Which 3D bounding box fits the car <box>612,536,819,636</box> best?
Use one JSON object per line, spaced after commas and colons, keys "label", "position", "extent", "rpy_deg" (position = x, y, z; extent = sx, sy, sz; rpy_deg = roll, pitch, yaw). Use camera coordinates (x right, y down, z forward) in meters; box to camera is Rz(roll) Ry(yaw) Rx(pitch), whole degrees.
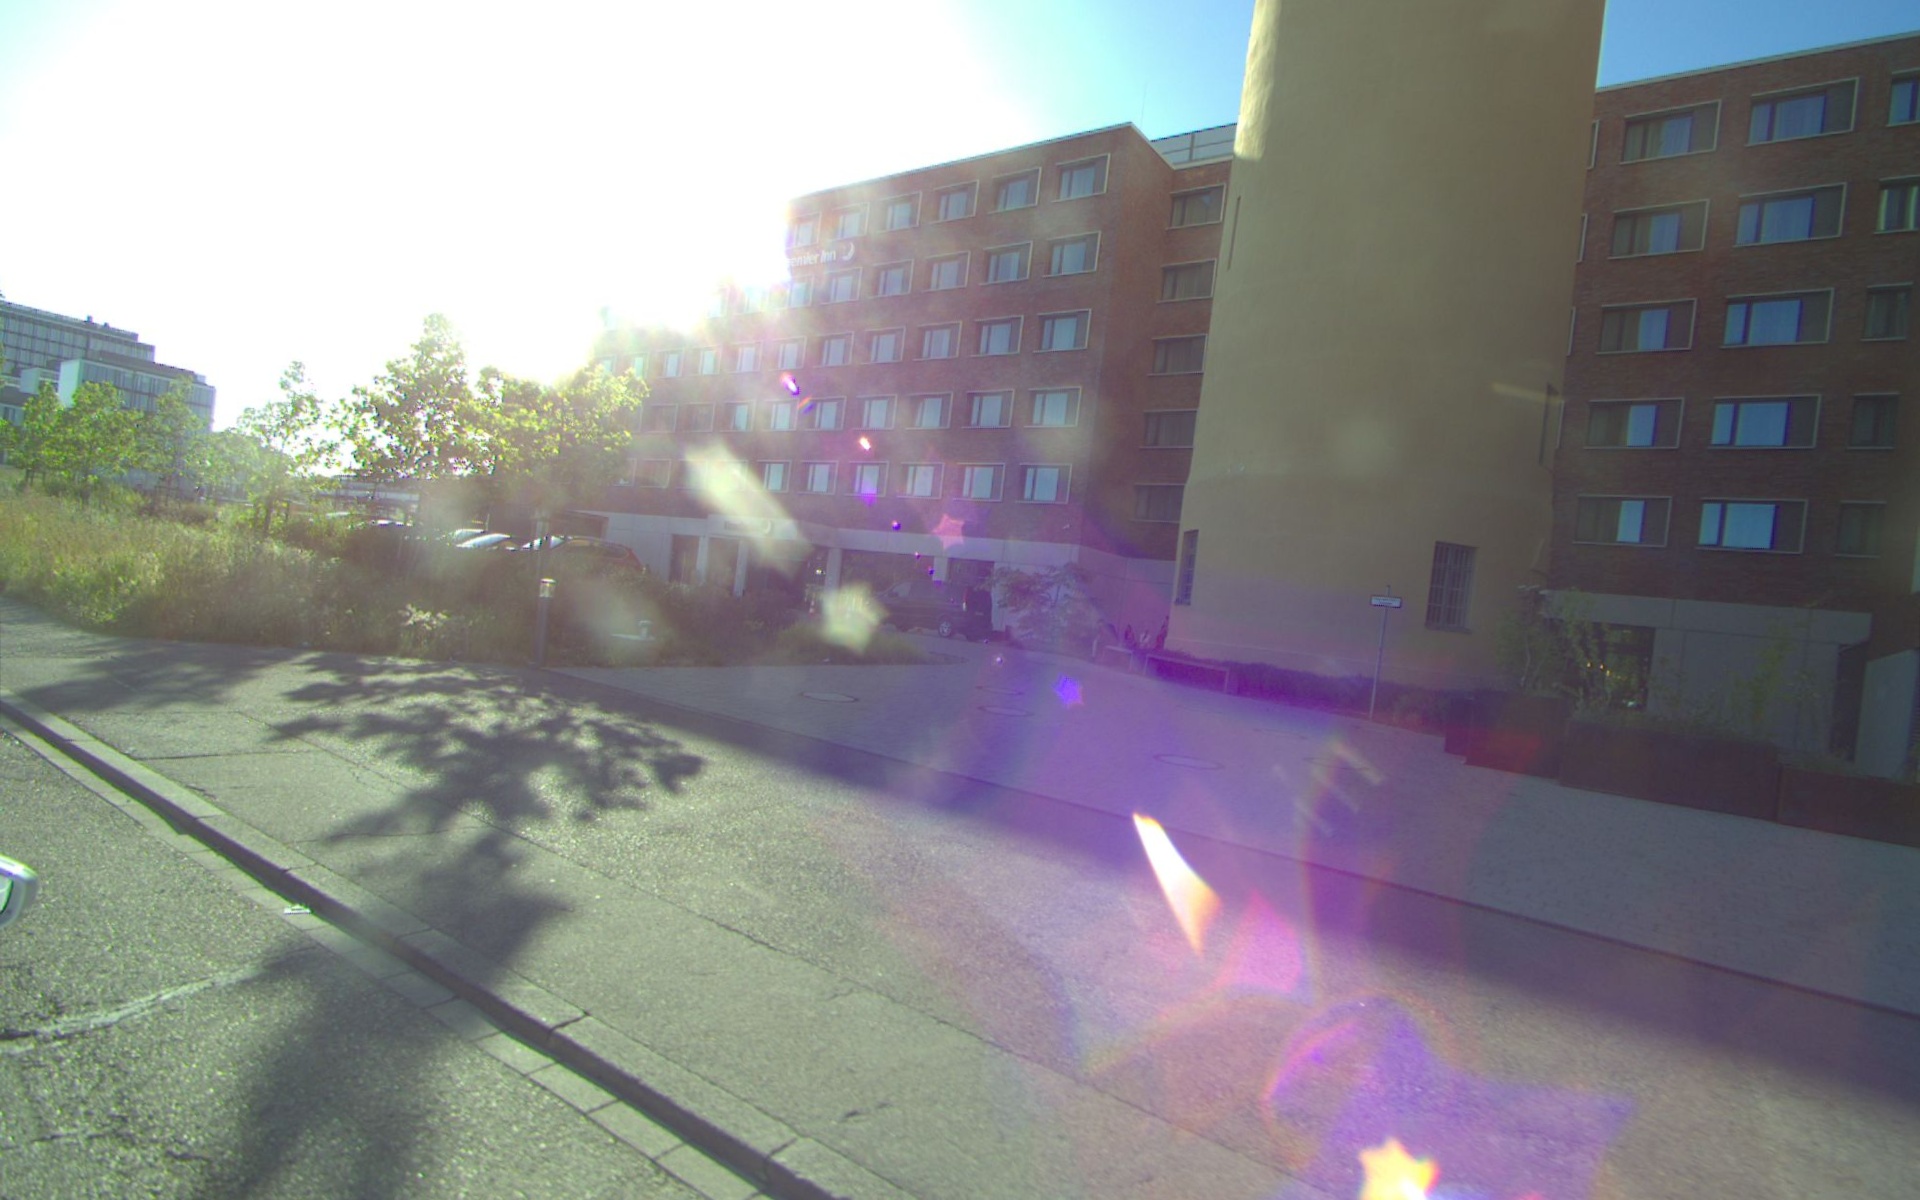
{"label": "car", "position": [-5.442, -0.263, 22.824], "extent": [1.824, 1.599, 4.186], "rpy_deg": [9, -1, 38]}

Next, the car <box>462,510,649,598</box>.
{"label": "car", "position": [-10.745, -1.191, 26.974], "extent": [1.824, 1.599, 4.186], "rpy_deg": [9, -1, 38]}

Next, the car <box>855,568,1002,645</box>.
{"label": "car", "position": [-1.154, 0.212, 35.338], "extent": [4.718, 1.958, 1.973], "rpy_deg": [9, 0, 36]}

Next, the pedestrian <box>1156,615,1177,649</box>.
{"label": "pedestrian", "position": [7.335, 1.143, 35.758], "extent": [0.525, 1.154, 0.342], "rpy_deg": [7, -1, 31]}

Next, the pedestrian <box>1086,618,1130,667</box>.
{"label": "pedestrian", "position": [3.926, 1.116, 26.692], "extent": [0.746, 1.150, 0.813], "rpy_deg": [7, 1, -20]}

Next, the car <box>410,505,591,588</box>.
{"label": "car", "position": [-12.979, -1.484, 28.630], "extent": [1.824, 1.599, 4.186], "rpy_deg": [9, -1, 38]}

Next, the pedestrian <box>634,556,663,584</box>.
{"label": "pedestrian", "position": [-16.755, -1.618, 54.148], "extent": [0.994, 1.325, 0.930], "rpy_deg": [9, 0, 35]}
